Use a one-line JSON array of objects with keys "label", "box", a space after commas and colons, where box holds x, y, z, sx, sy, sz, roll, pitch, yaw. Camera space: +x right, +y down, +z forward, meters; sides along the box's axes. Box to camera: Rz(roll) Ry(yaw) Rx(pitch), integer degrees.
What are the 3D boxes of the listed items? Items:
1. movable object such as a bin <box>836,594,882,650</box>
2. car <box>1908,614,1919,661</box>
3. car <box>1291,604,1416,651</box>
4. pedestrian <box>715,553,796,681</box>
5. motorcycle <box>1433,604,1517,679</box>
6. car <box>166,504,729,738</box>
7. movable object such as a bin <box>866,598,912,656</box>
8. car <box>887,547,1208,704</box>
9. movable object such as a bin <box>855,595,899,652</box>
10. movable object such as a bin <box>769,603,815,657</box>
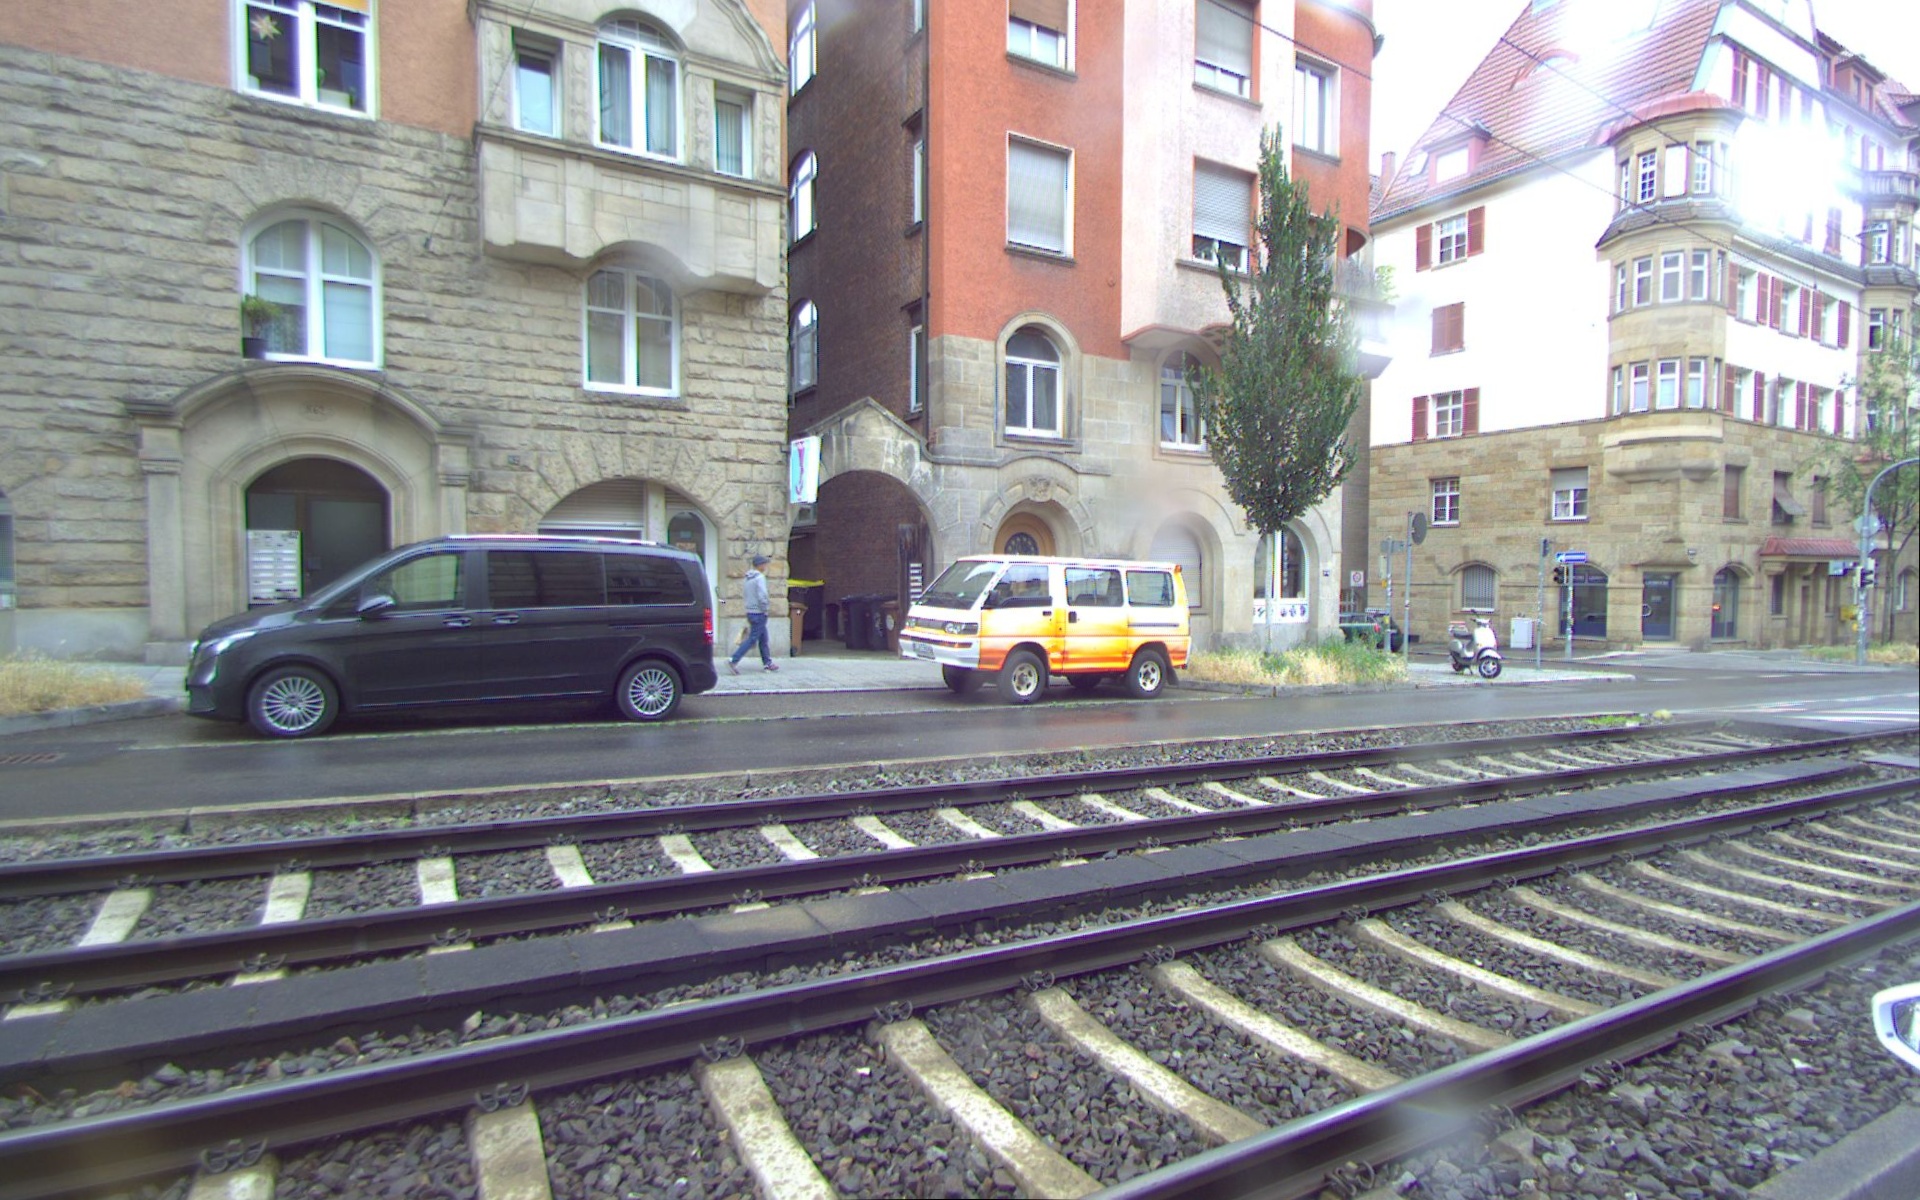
[{"label": "movable object such as a bin", "box": [-1.957, 0.431, 19.491, 0.648, 1.058, 0.676, 2, 0, -29]}, {"label": "car", "box": [34.207, 1.328, 34.301, 4.130, 1.549, 1.680, 2, 0, -32]}, {"label": "car", "box": [14.630, 1.009, 37.520, 1.979, 1.595, 3.963, 2, 0, -33]}, {"label": "pedestrian", "box": [-2.977, 0.240, 14.589, 0.882, 1.743, 0.713, 2, 6, -30]}, {"label": "motorcycle", "box": [10.222, 0.799, 20.013, 0.752, 1.393, 1.785, 2, 0, 2]}, {"label": "car", "box": [-5.045, 0.237, 10.457, 4.777, 1.956, 1.896, 2, 0, -31]}, {"label": "movable object such as a bin", "box": [-1.308, 0.494, 18.490, 0.648, 1.058, 0.545, 2, 0, -29]}, {"label": "car", "box": [1.326, 0.370, 14.422, 4.426, 1.956, 1.719, 2, 0, -32]}, {"label": "movable object such as a bin", "box": [-1.576, 0.447, 18.983, 0.648, 1.058, 0.545, 2, 0, -29]}, {"label": "movable object such as a bin", "box": [-2.931, 0.520, 17.514, 0.647, 0.910, 0.544, 2, 0, -27]}]
